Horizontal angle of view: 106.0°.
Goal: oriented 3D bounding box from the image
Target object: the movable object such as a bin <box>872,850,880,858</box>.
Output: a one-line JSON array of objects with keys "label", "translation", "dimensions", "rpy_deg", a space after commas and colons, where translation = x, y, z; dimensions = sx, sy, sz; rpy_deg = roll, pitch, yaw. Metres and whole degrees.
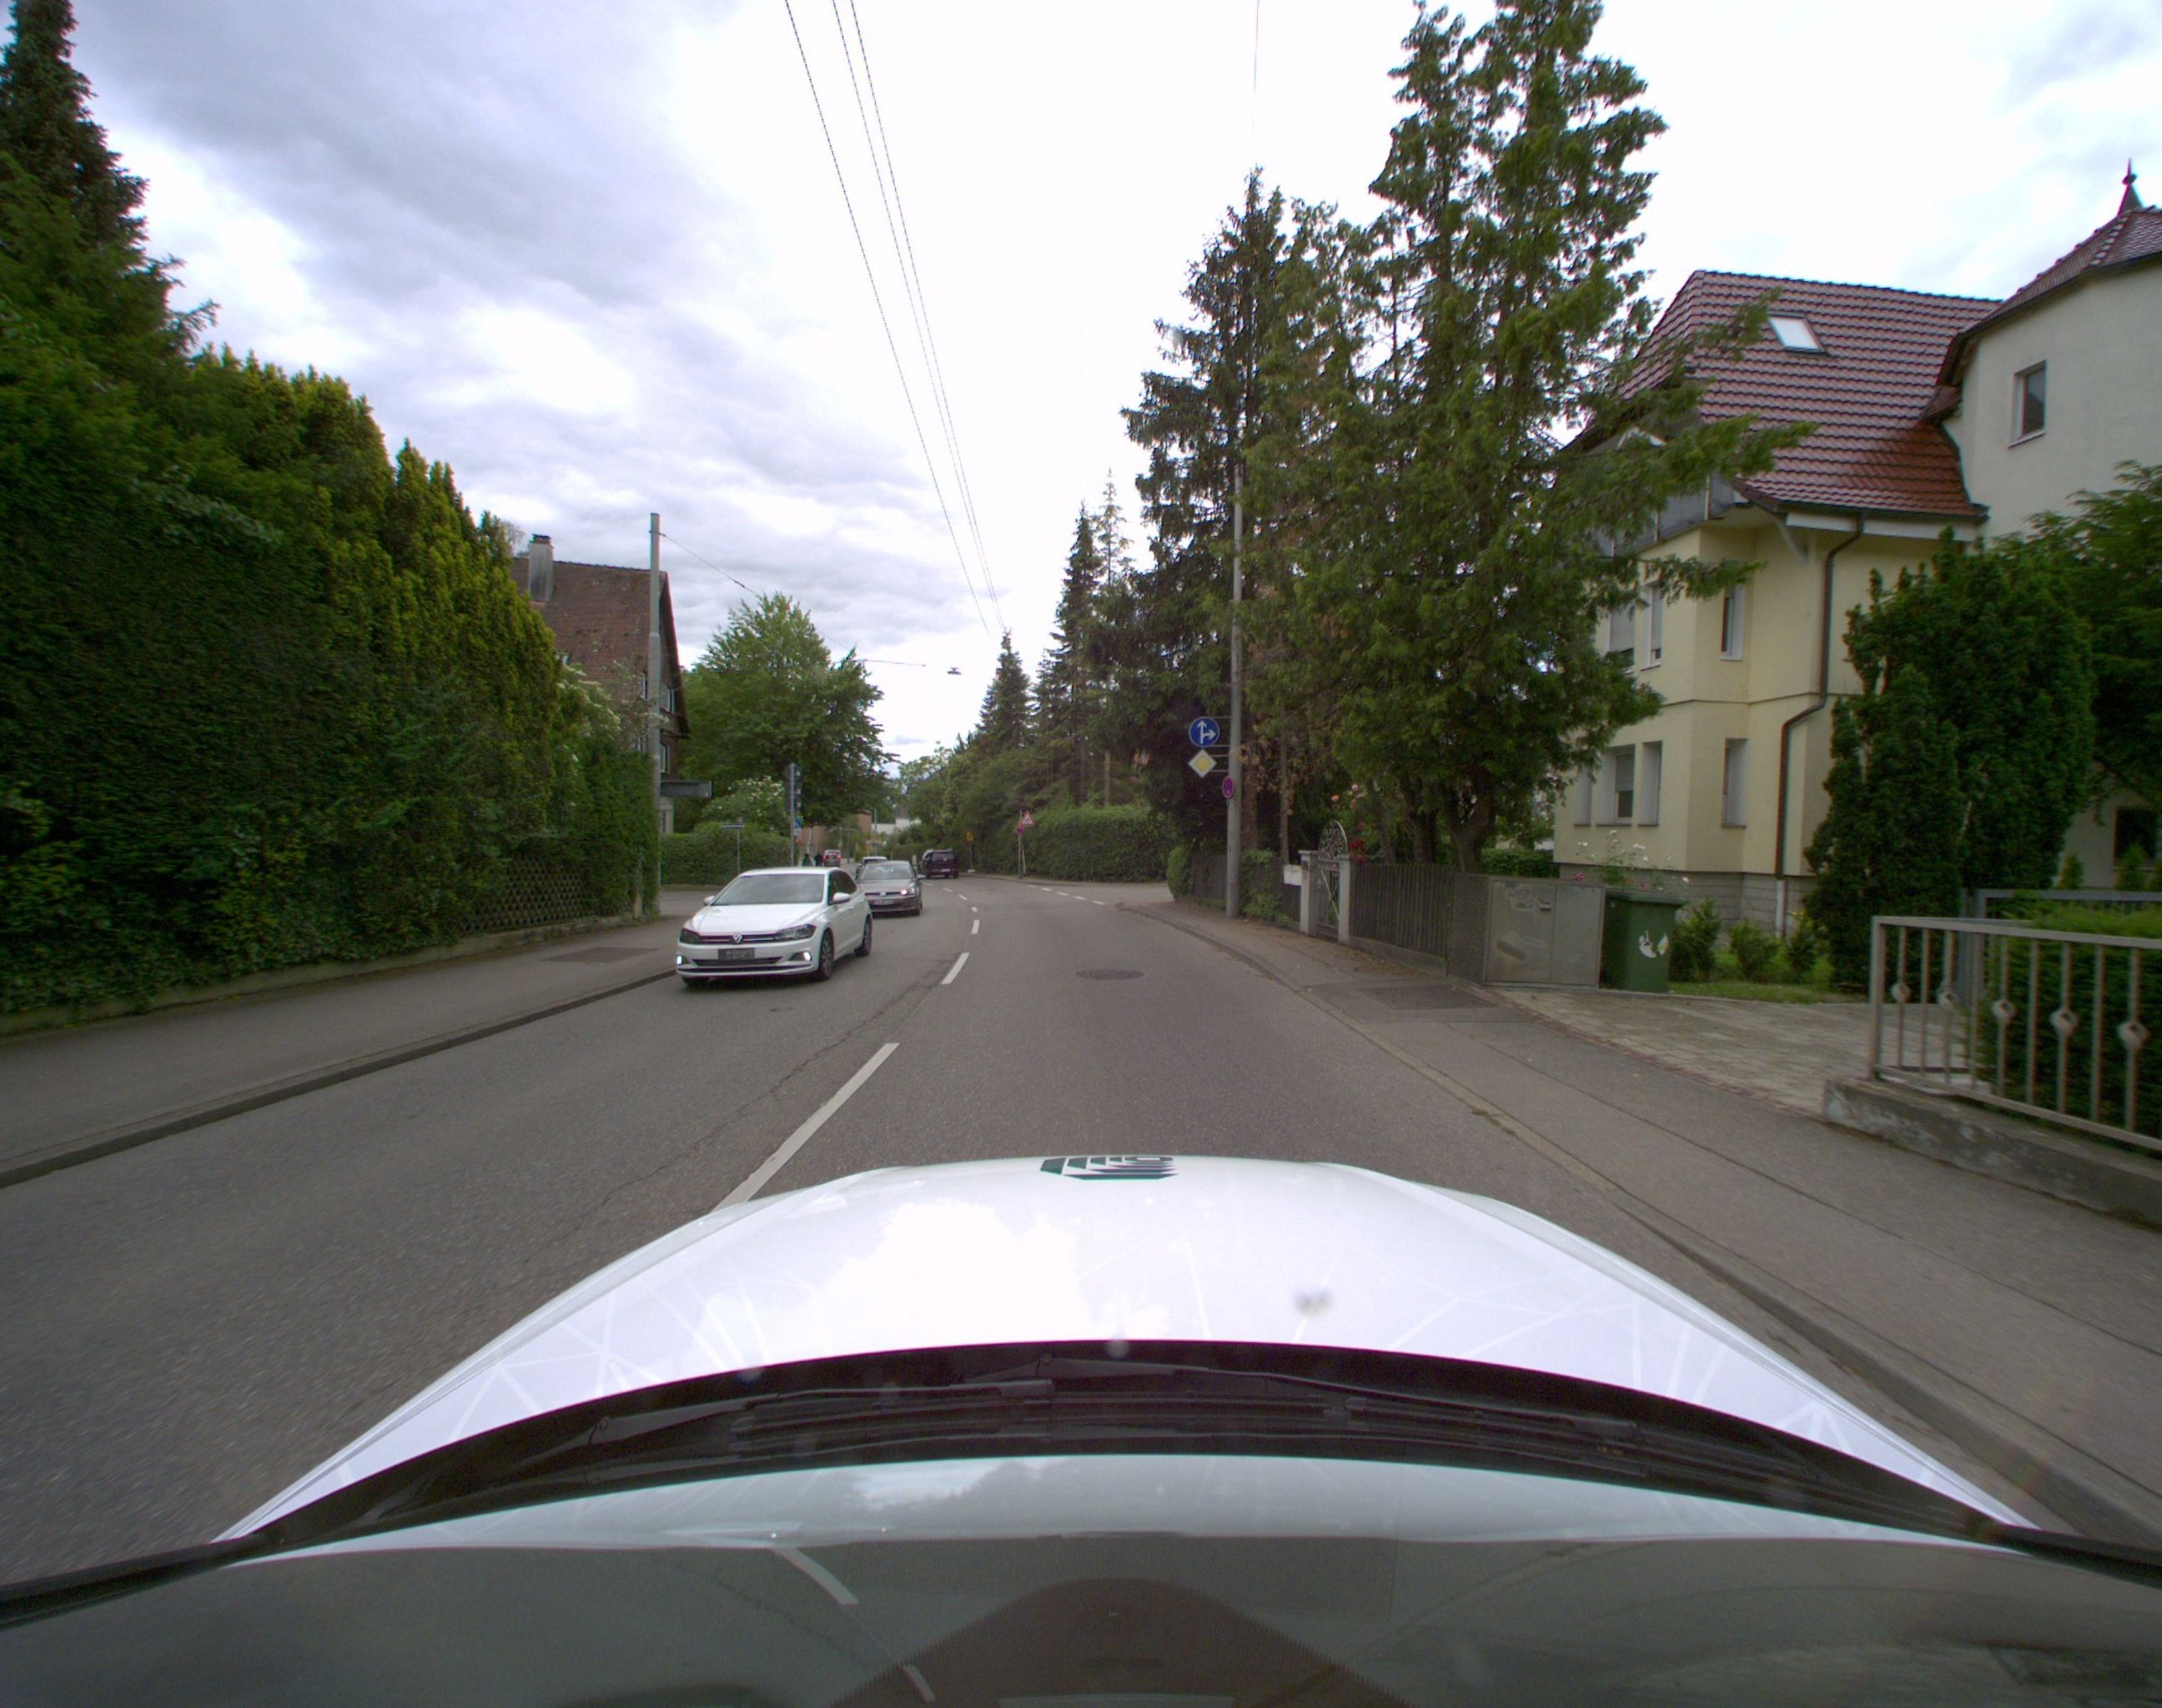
[{"label": "movable object such as a bin", "translation": [-27.272, -0.042, 108.151], "dimensions": [0.673, 1.074, 0.720], "rpy_deg": [1, -2, 29]}]

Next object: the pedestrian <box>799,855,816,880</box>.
[{"label": "pedestrian", "translation": [-16.062, 0.785, 47.745], "dimensions": [0.674, 1.449, 0.749], "rpy_deg": [-3, 2, -38]}]

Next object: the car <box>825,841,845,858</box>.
[{"label": "car", "translation": [-31.424, -0.604, 104.060], "dimensions": [1.963, 2.013, 4.411], "rpy_deg": [4, 0, -11]}]

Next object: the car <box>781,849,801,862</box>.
[{"label": "car", "translation": [-36.180, 0.193, 101.517], "dimensions": [1.730, 1.471, 3.498], "rpy_deg": [-1, 1, -29]}]

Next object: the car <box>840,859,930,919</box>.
[{"label": "car", "translation": [-5.211, 0.864, 22.084], "dimensions": [1.911, 1.398, 3.899], "rpy_deg": [-1, 0, -7]}]

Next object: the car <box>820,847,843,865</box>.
[{"label": "car", "translation": [-25.299, 0.194, 82.594], "dimensions": [1.895, 1.706, 3.983], "rpy_deg": [1, 0, -12]}]

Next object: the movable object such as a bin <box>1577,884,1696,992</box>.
[{"label": "movable object such as a bin", "translation": [5.868, 0.863, 8.644], "dimensions": [0.773, 1.048, 0.784], "rpy_deg": [0, 0, 6]}]

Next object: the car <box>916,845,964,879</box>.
[{"label": "car", "translation": [-8.477, 0.457, 48.742], "dimensions": [2.001, 1.881, 3.971], "rpy_deg": [0, 2, -22]}]

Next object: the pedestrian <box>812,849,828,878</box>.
[{"label": "pedestrian", "translation": [-15.451, 0.569, 48.280], "dimensions": [0.633, 1.662, 0.909], "rpy_deg": [1, -1, -37]}]

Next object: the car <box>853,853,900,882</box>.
[{"label": "car", "translation": [-11.167, 0.725, 44.354], "dimensions": [1.816, 1.443, 4.165], "rpy_deg": [-1, 0, -24]}]

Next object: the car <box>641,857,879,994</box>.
[{"label": "car", "translation": [-4.167, 0.832, 11.308], "dimensions": [1.898, 1.454, 3.792], "rpy_deg": [-2, 0, -3]}]
